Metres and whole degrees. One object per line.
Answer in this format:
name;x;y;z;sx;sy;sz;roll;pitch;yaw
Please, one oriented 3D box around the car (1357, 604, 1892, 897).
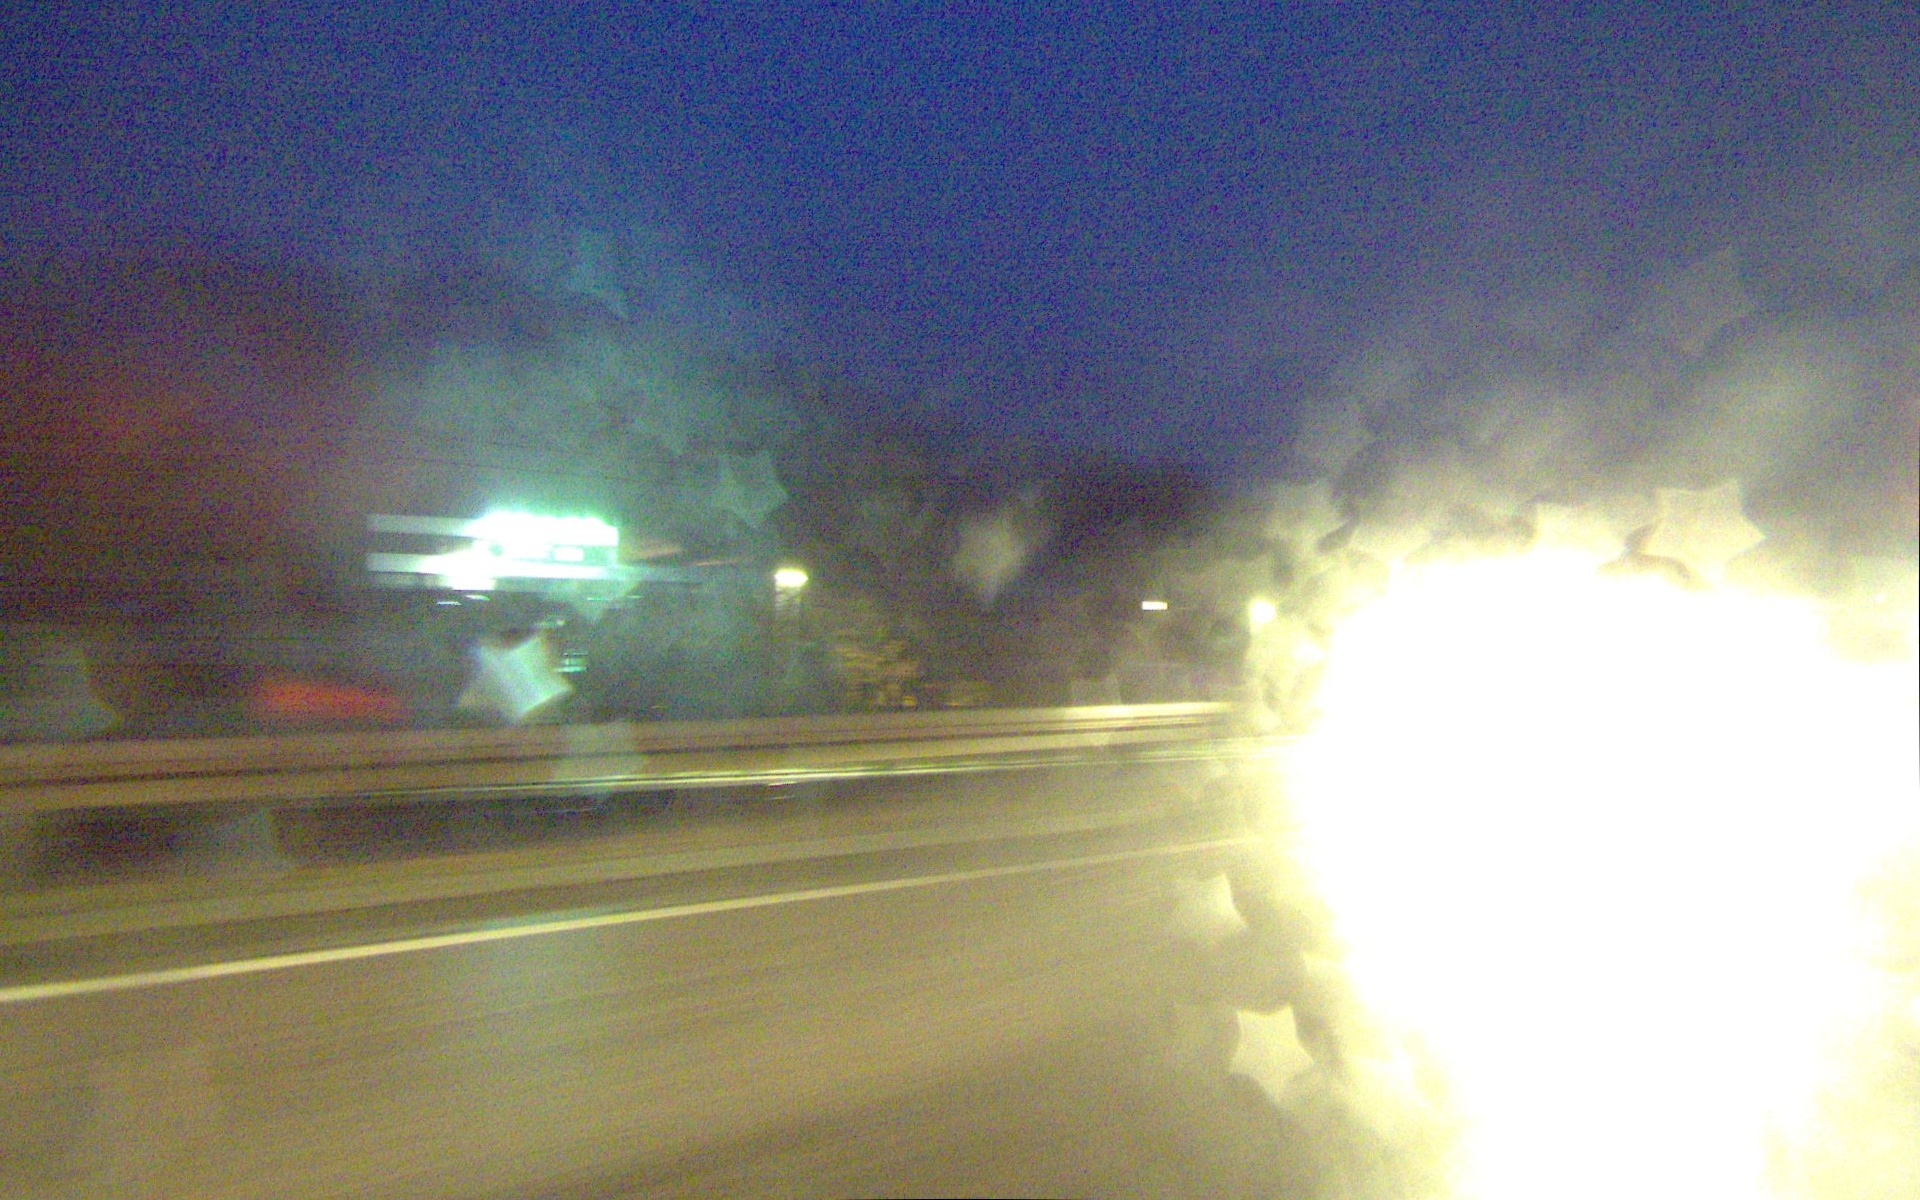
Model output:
car;4.747;0.839;7.059;3.819;1.540;1.684;1;0;-32
